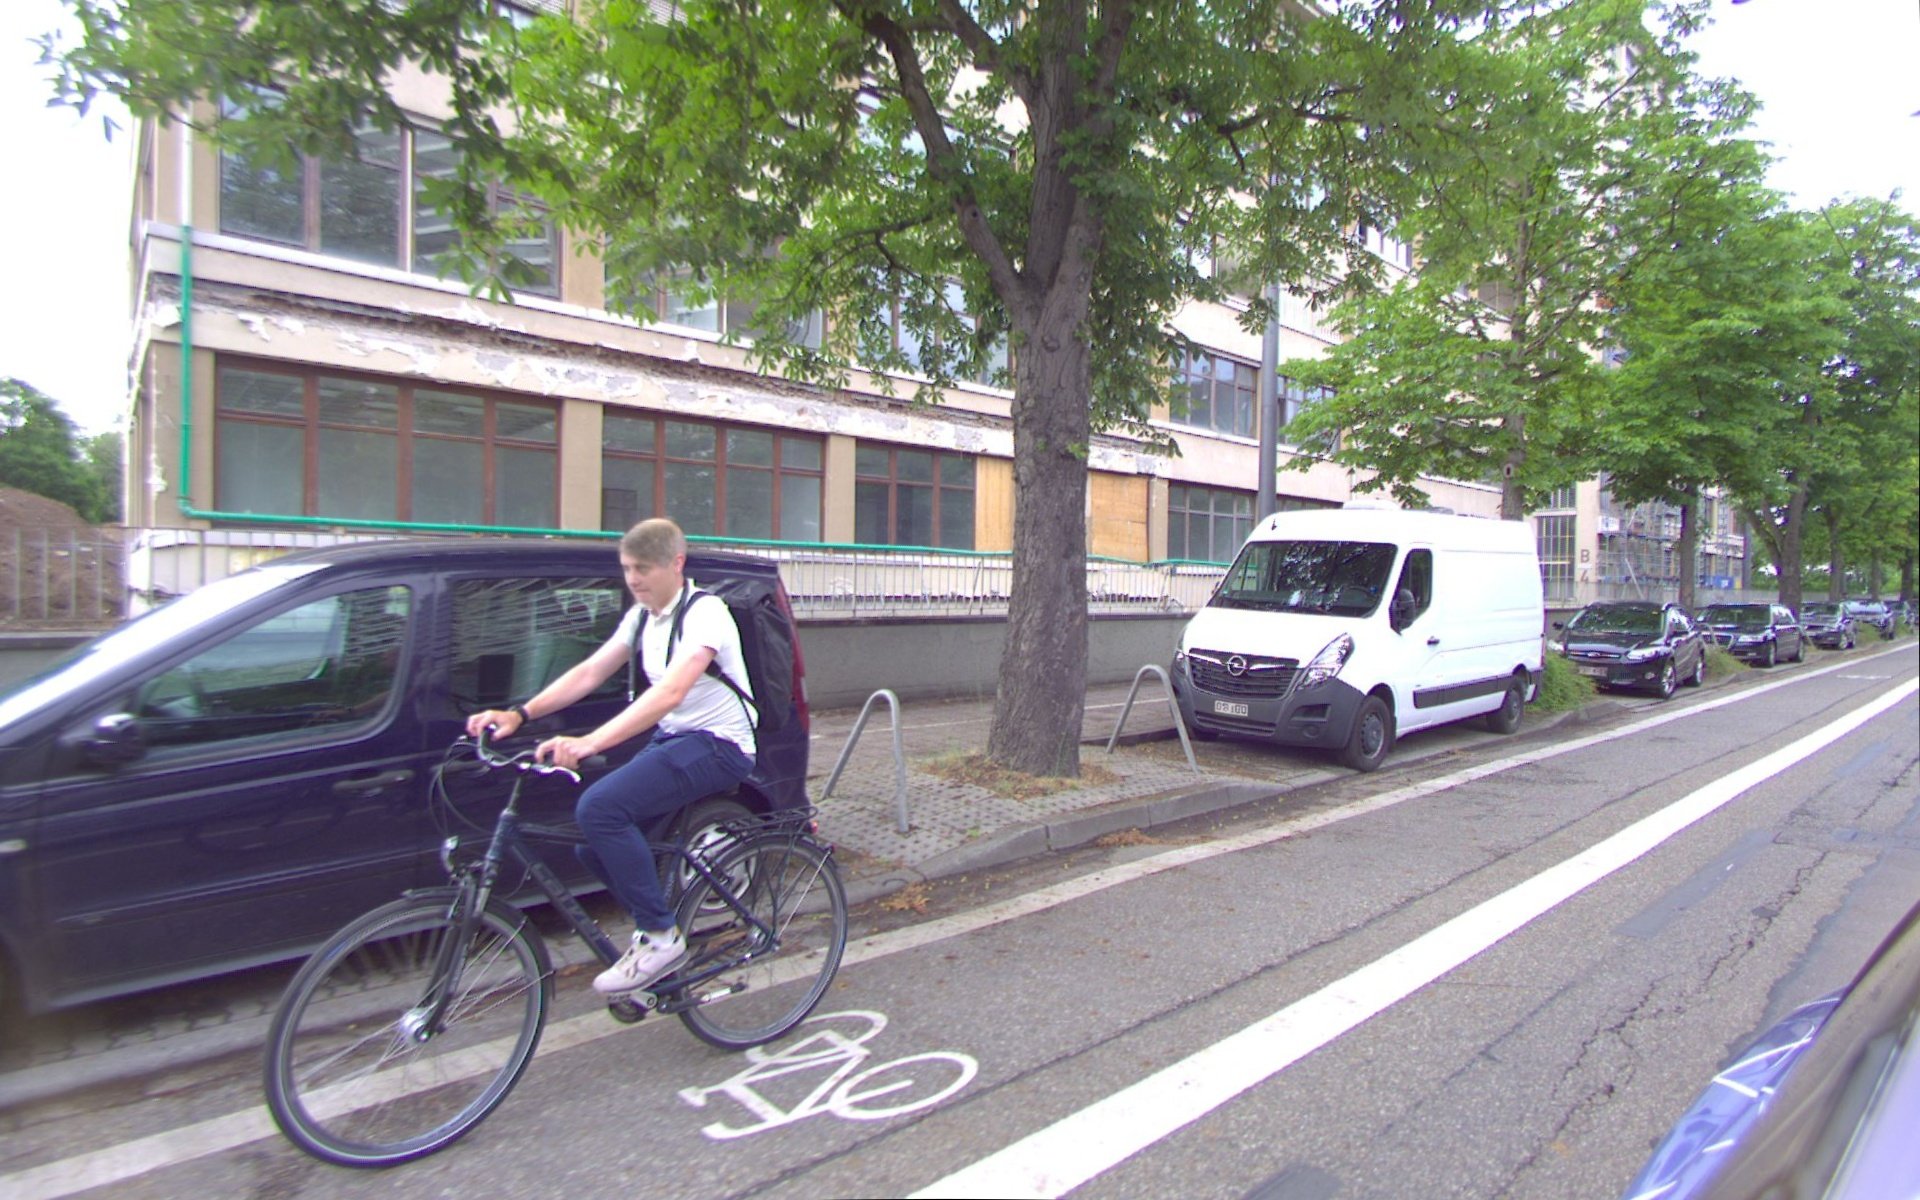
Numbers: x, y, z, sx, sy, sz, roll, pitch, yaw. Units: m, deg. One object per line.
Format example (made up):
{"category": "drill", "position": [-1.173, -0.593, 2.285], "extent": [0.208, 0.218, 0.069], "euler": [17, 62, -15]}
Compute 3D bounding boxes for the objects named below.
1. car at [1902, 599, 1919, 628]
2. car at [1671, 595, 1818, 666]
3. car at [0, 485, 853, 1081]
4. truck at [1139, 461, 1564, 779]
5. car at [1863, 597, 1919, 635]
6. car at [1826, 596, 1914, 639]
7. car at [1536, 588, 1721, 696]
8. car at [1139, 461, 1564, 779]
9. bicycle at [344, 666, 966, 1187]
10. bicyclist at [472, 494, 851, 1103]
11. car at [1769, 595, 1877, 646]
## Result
{"category": "car", "position": [50.317, 0.682, 52.350], "extent": [4.318, 1.479, 1.996], "euler": [0, 0, -42]}
{"category": "car", "position": [18.299, 0.632, 23.538], "extent": [4.318, 1.479, 1.996], "euler": [0, 0, -42]}
{"category": "car", "position": [-2.594, 0.541, 4.567], "extent": [4.015, 1.835, 1.656], "euler": [-1, 1, -42]}
{"category": "truck", "position": [4.461, 0.151, 10.984], "extent": [5.397, 2.635, 2.115], "euler": [0, 0, -42]}
{"category": "car", "position": [39.548, 0.636, 42.498], "extent": [4.318, 1.479, 1.996], "euler": [0, 0, -42]}
{"category": "car", "position": [33.581, 0.587, 37.308], "extent": [4.318, 1.479, 1.996], "euler": [0, 0, -42]}
{"category": "car", "position": [11.379, 0.601, 17.125], "extent": [1.822, 1.518, 4.040], "euler": [4, 3, 45]}
{"category": "car", "position": [4.461, 0.151, 10.984], "extent": [5.397, 2.635, 2.115], "euler": [0, 0, -42]}
{"category": "bicycle", "position": [-0.872, 0.833, 3.288], "extent": [1.835, 1.131, 0.665], "euler": [0, -1, -43]}
{"category": "bicyclist", "position": [-0.934, 0.514, 3.217], "extent": [0.969, 1.589, 0.663], "euler": [0, 0, -42]}
{"category": "car", "position": [26.727, 0.577, 31.302], "extent": [4.318, 1.479, 1.996], "euler": [0, 0, -42]}
